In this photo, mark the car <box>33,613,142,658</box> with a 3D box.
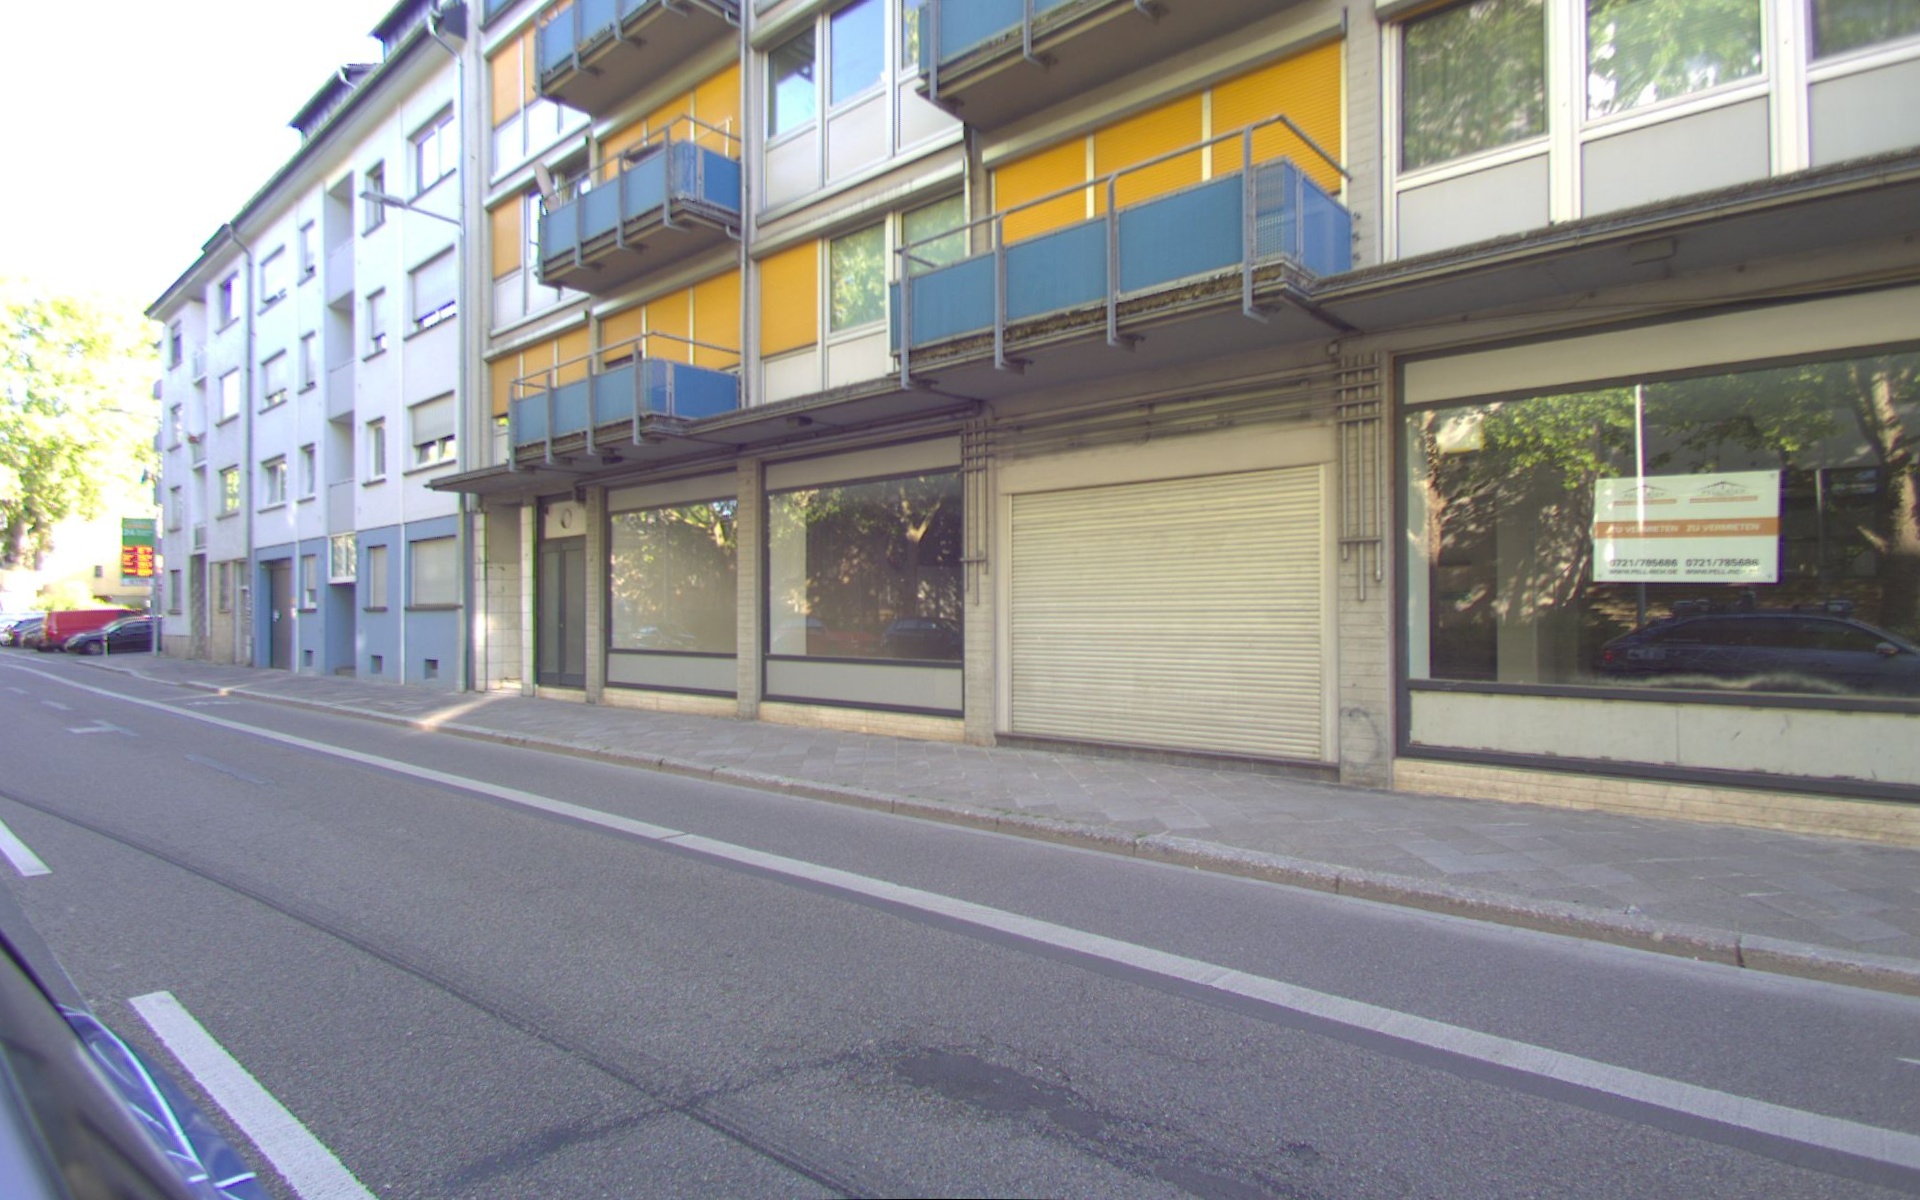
[{"bbox_3d":[-40.659,1.641,47.222,1.488,1.923,3.642,-4,-2,39],"label":"car"}]

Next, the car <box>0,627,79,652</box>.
[{"bbox_3d":[-52.268,2.241,57.502,1.345,1.254,3.228,-1,0,43],"label":"car"}]

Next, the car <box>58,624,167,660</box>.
[{"bbox_3d":[-36.683,1.804,43.842,1.490,1.398,3.462,-1,0,43],"label":"car"}]

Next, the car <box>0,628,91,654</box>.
[{"bbox_3d":[-50.453,2.234,55.873,1.345,1.254,3.638,-1,0,43],"label":"car"}]

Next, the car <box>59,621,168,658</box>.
[{"bbox_3d":[-38.199,1.761,45.722,1.490,1.523,3.638,-1,0,43],"label":"car"}]

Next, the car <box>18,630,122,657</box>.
[{"bbox_3d":[-42.821,2.066,48.737,1.345,1.137,3.638,-1,0,43],"label":"car"}]
